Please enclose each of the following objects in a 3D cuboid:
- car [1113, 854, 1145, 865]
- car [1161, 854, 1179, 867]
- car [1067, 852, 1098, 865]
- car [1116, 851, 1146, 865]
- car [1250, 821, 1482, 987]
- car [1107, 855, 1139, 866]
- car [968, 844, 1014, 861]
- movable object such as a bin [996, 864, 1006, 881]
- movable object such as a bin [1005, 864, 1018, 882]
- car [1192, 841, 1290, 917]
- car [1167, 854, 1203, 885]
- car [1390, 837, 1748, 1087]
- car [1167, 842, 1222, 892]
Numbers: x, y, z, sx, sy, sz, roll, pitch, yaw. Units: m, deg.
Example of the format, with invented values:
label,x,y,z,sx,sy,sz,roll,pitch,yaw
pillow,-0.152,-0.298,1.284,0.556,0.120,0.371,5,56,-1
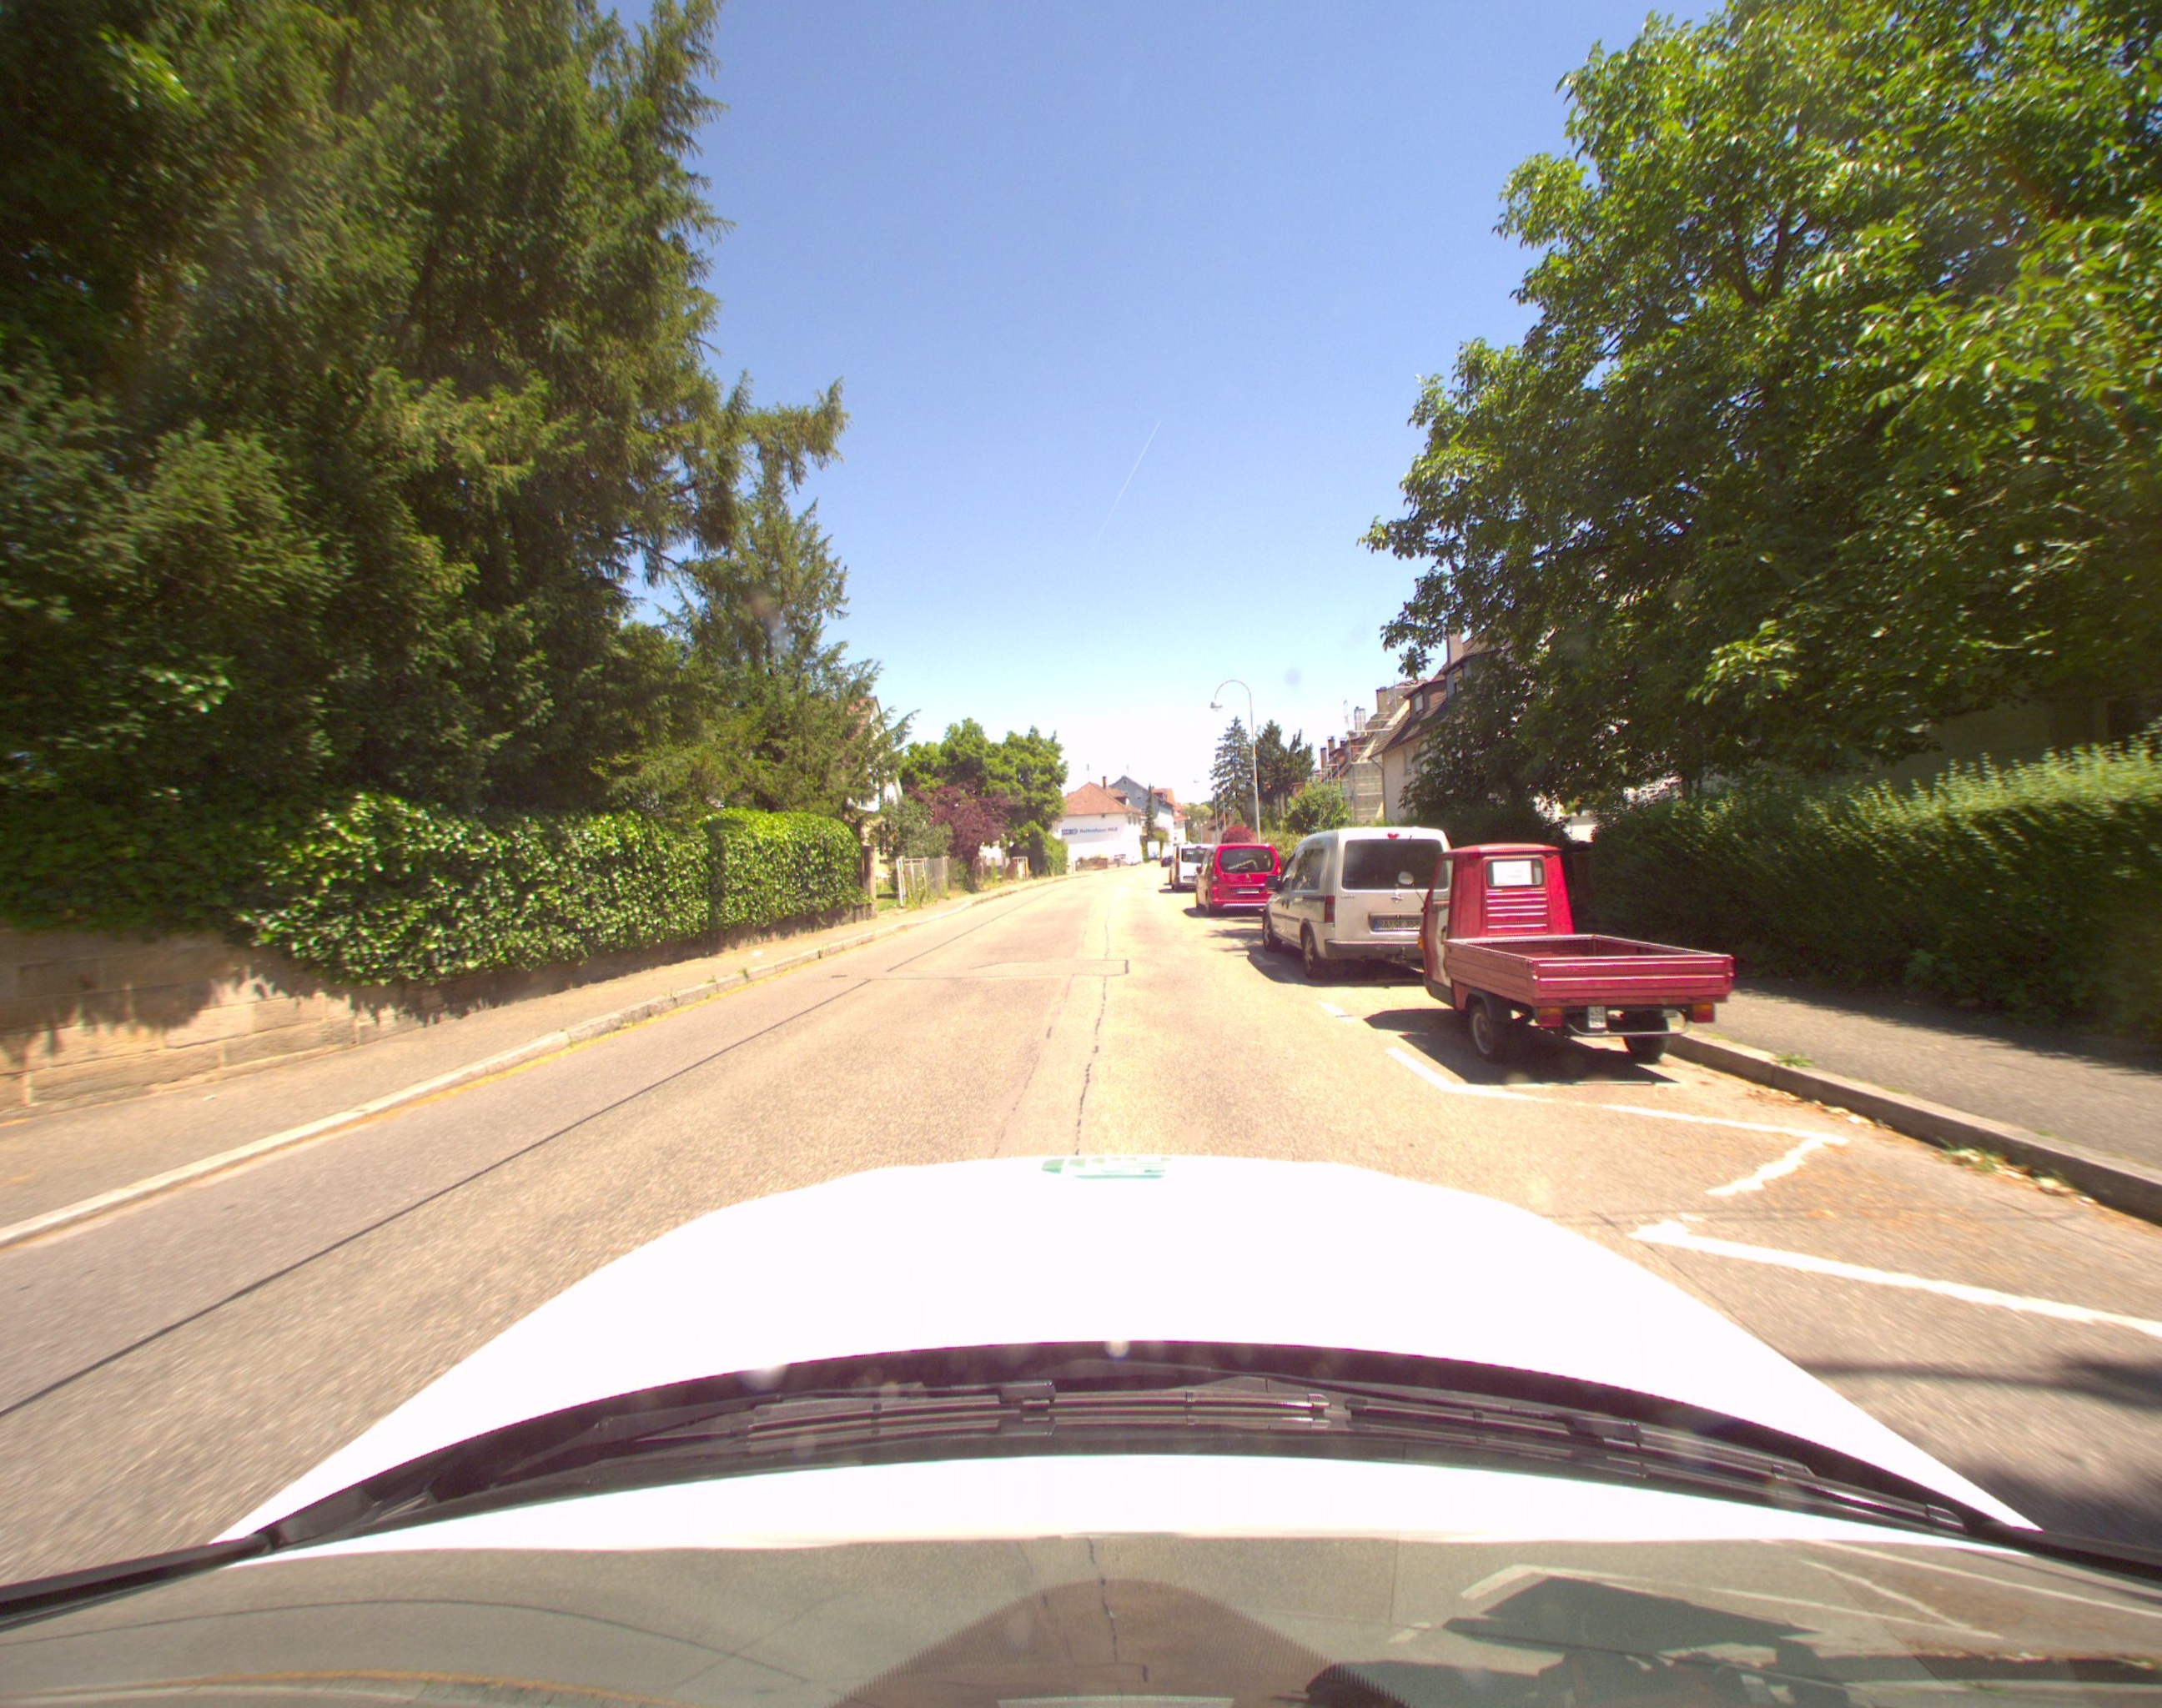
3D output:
label,x,y,z,sx,sy,sz,roll,pitch,yaw
car,6.749,0.762,114.538,4.102,1.394,1.834,-3,0,11
car,10.379,0.779,95.132,1.783,1.510,4.011,-1,0,10
car,0.231,0.593,106.875,1.810,1.510,3.951,-3,1,-42
car,7.242,0.532,117.084,4.106,1.774,1.832,-3,0,7
car,3.575,0.549,11.159,1.739,1.782,4.546,-1,0,2
car,5.789,0.849,111.626,1.922,1.343,4.091,-3,0,-44
car,-8.303,-0.162,75.215,3.974,1.510,1.800,-1,0,-1
movable object such as a bin,-4.809,1.121,48.816,0.465,1.009,0.506,-2,0,4
movable object such as a bin,-4.120,1.118,48.301,0.705,0.996,0.474,-2,0,2
car,4.018,0.594,21.132,1.895,1.728,4.395,-1,0,3
car,5.267,0.761,41.666,1.648,1.398,4.006,-2,0,5
car,3.439,0.654,6.249,1.255,1.495,2.712,-1,0,4
car,4.719,0.517,34.469,1.895,1.924,4.723,-2,0,3
